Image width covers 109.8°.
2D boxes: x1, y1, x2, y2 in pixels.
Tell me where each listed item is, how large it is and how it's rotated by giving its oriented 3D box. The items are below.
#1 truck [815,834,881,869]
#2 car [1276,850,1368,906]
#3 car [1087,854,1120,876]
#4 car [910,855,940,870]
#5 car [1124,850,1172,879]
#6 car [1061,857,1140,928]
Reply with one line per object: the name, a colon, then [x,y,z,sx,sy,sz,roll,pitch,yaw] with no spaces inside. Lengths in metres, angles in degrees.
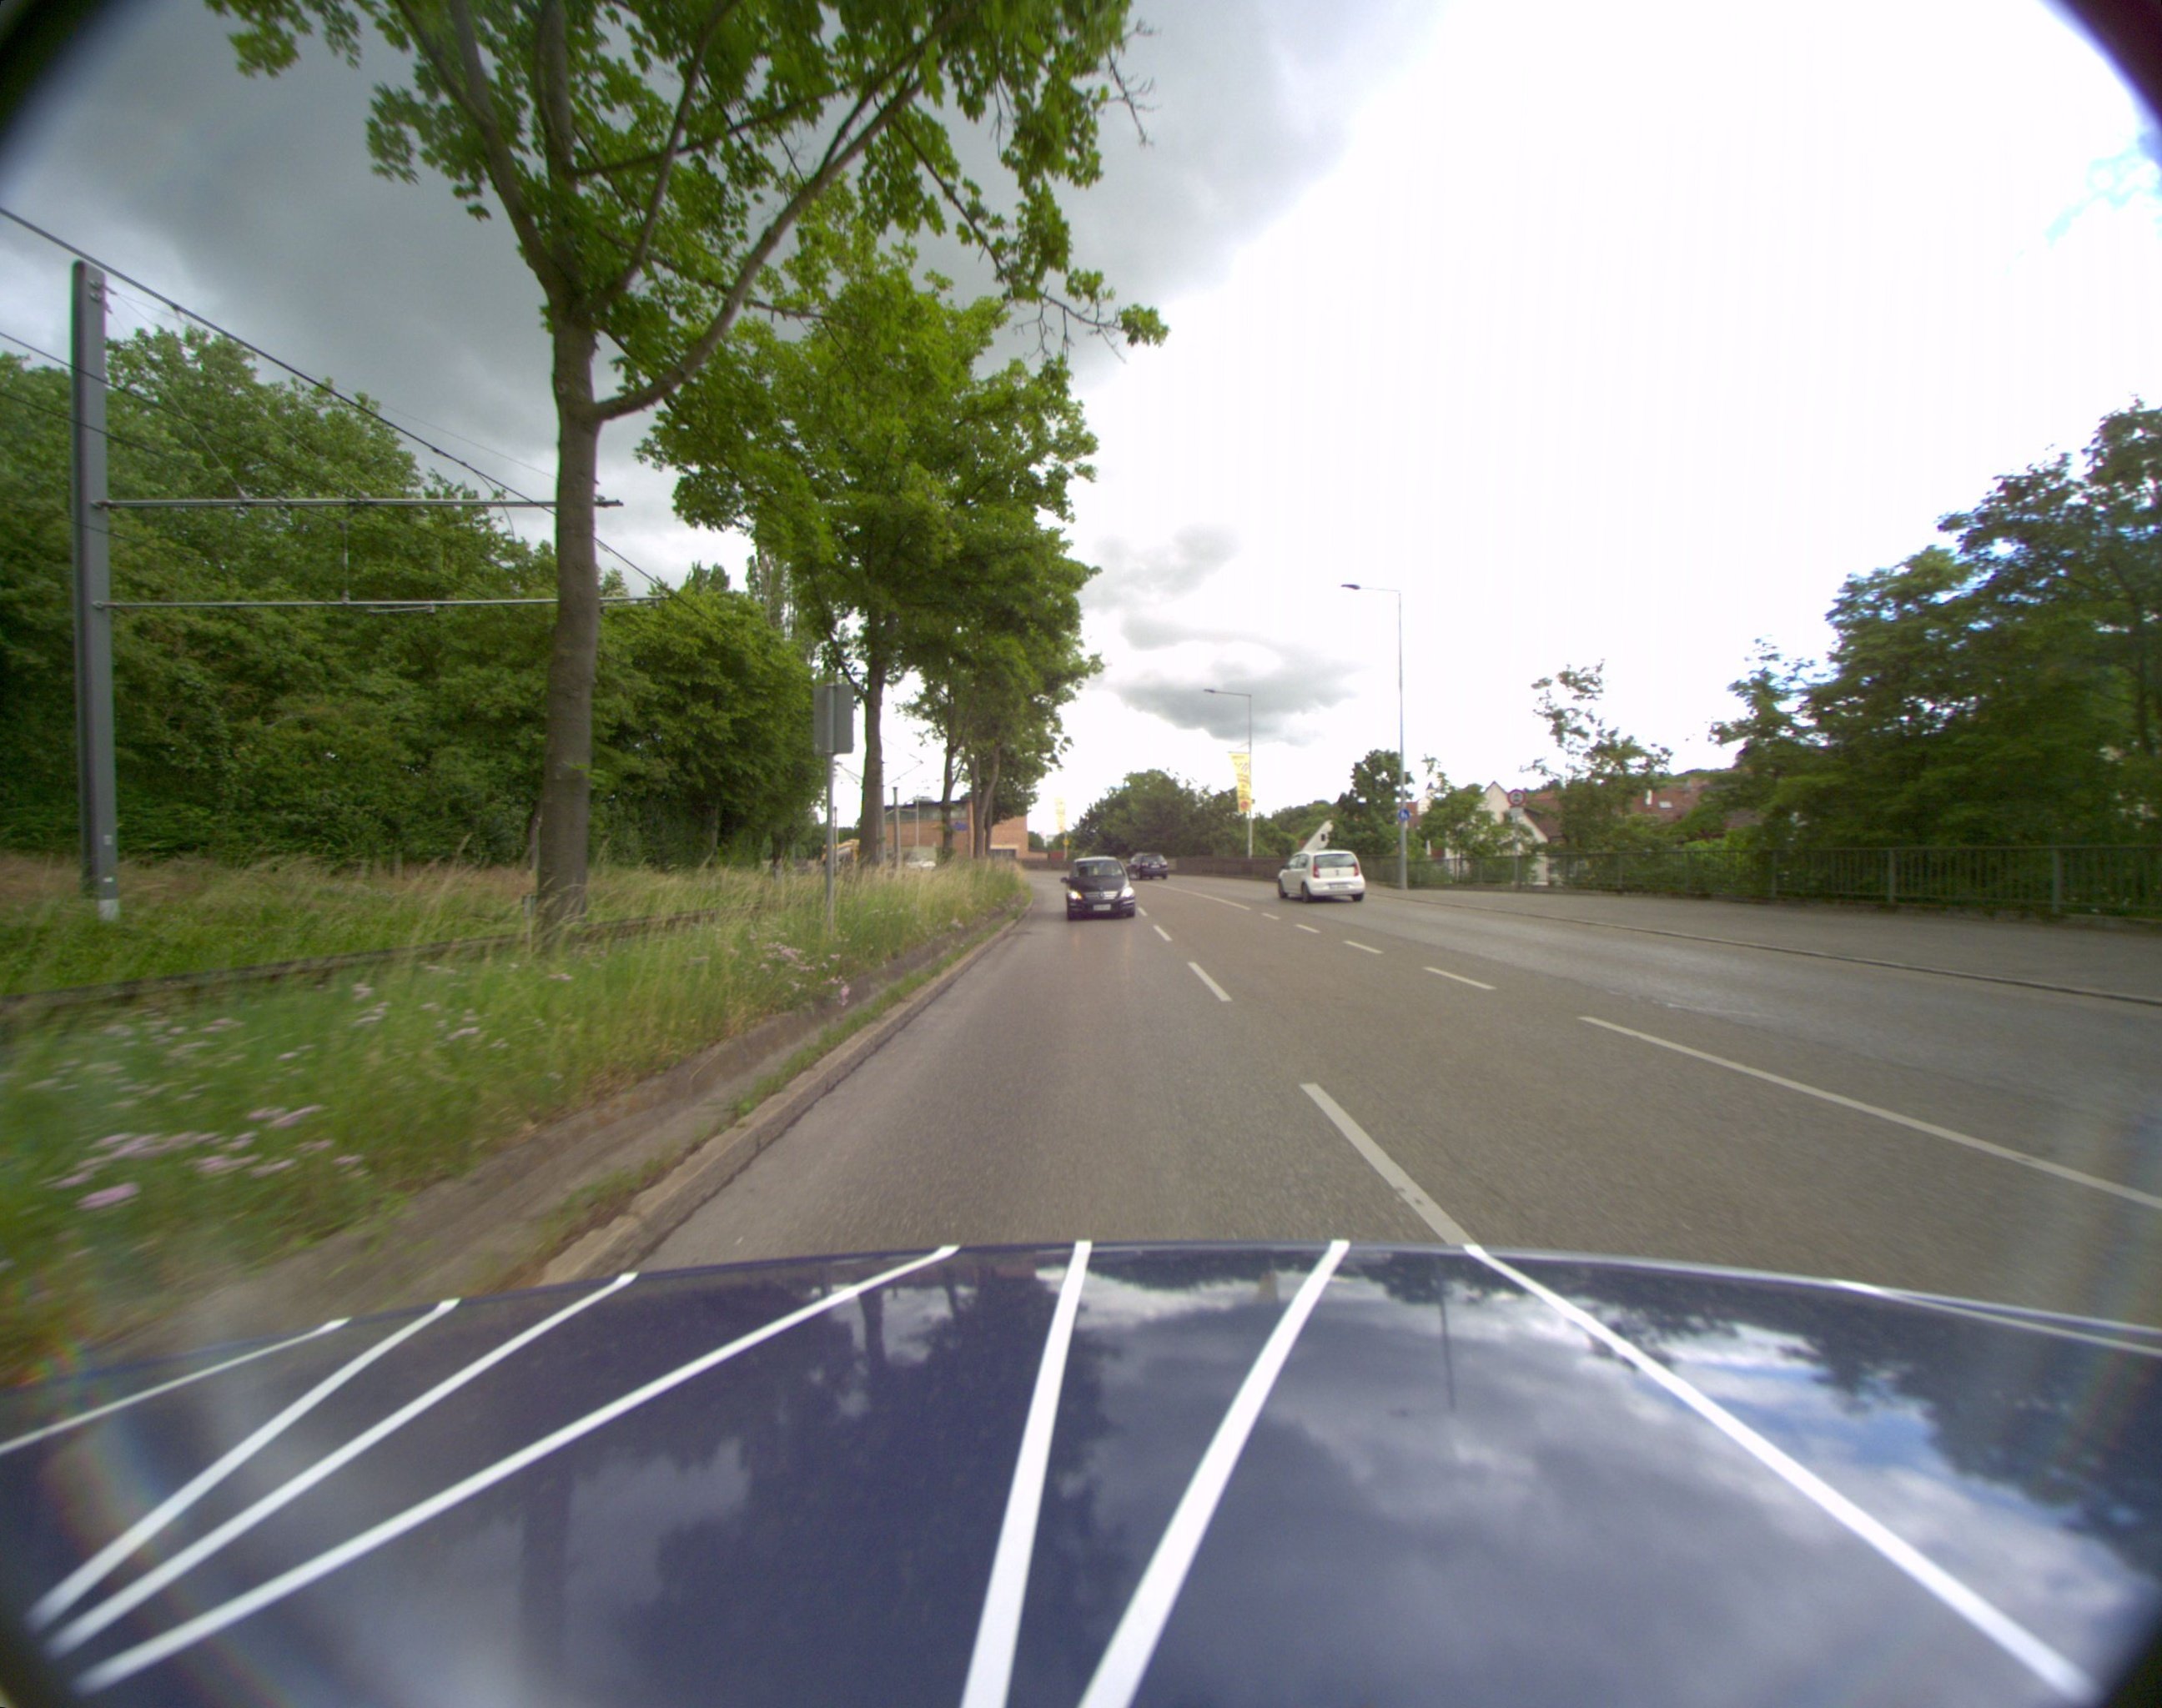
truck: [-29.841,-0.284,97.055,10.111,3.916,2.682,-3,2,39]
car: [7.031,0.663,22.541,1.584,1.457,3.696,-3,0,1]
car: [1.595,0.763,55.075,1.586,1.477,3.692,-3,0,-11]
car: [-17.506,0.968,85.242,1.756,1.478,3.645,-3,1,-41]
car: [3.958,0.614,45.458,1.726,1.598,4.010,-2,0,-12]
car: [0.406,0.932,20.107,1.751,1.556,4.073,-3,1,-2]
